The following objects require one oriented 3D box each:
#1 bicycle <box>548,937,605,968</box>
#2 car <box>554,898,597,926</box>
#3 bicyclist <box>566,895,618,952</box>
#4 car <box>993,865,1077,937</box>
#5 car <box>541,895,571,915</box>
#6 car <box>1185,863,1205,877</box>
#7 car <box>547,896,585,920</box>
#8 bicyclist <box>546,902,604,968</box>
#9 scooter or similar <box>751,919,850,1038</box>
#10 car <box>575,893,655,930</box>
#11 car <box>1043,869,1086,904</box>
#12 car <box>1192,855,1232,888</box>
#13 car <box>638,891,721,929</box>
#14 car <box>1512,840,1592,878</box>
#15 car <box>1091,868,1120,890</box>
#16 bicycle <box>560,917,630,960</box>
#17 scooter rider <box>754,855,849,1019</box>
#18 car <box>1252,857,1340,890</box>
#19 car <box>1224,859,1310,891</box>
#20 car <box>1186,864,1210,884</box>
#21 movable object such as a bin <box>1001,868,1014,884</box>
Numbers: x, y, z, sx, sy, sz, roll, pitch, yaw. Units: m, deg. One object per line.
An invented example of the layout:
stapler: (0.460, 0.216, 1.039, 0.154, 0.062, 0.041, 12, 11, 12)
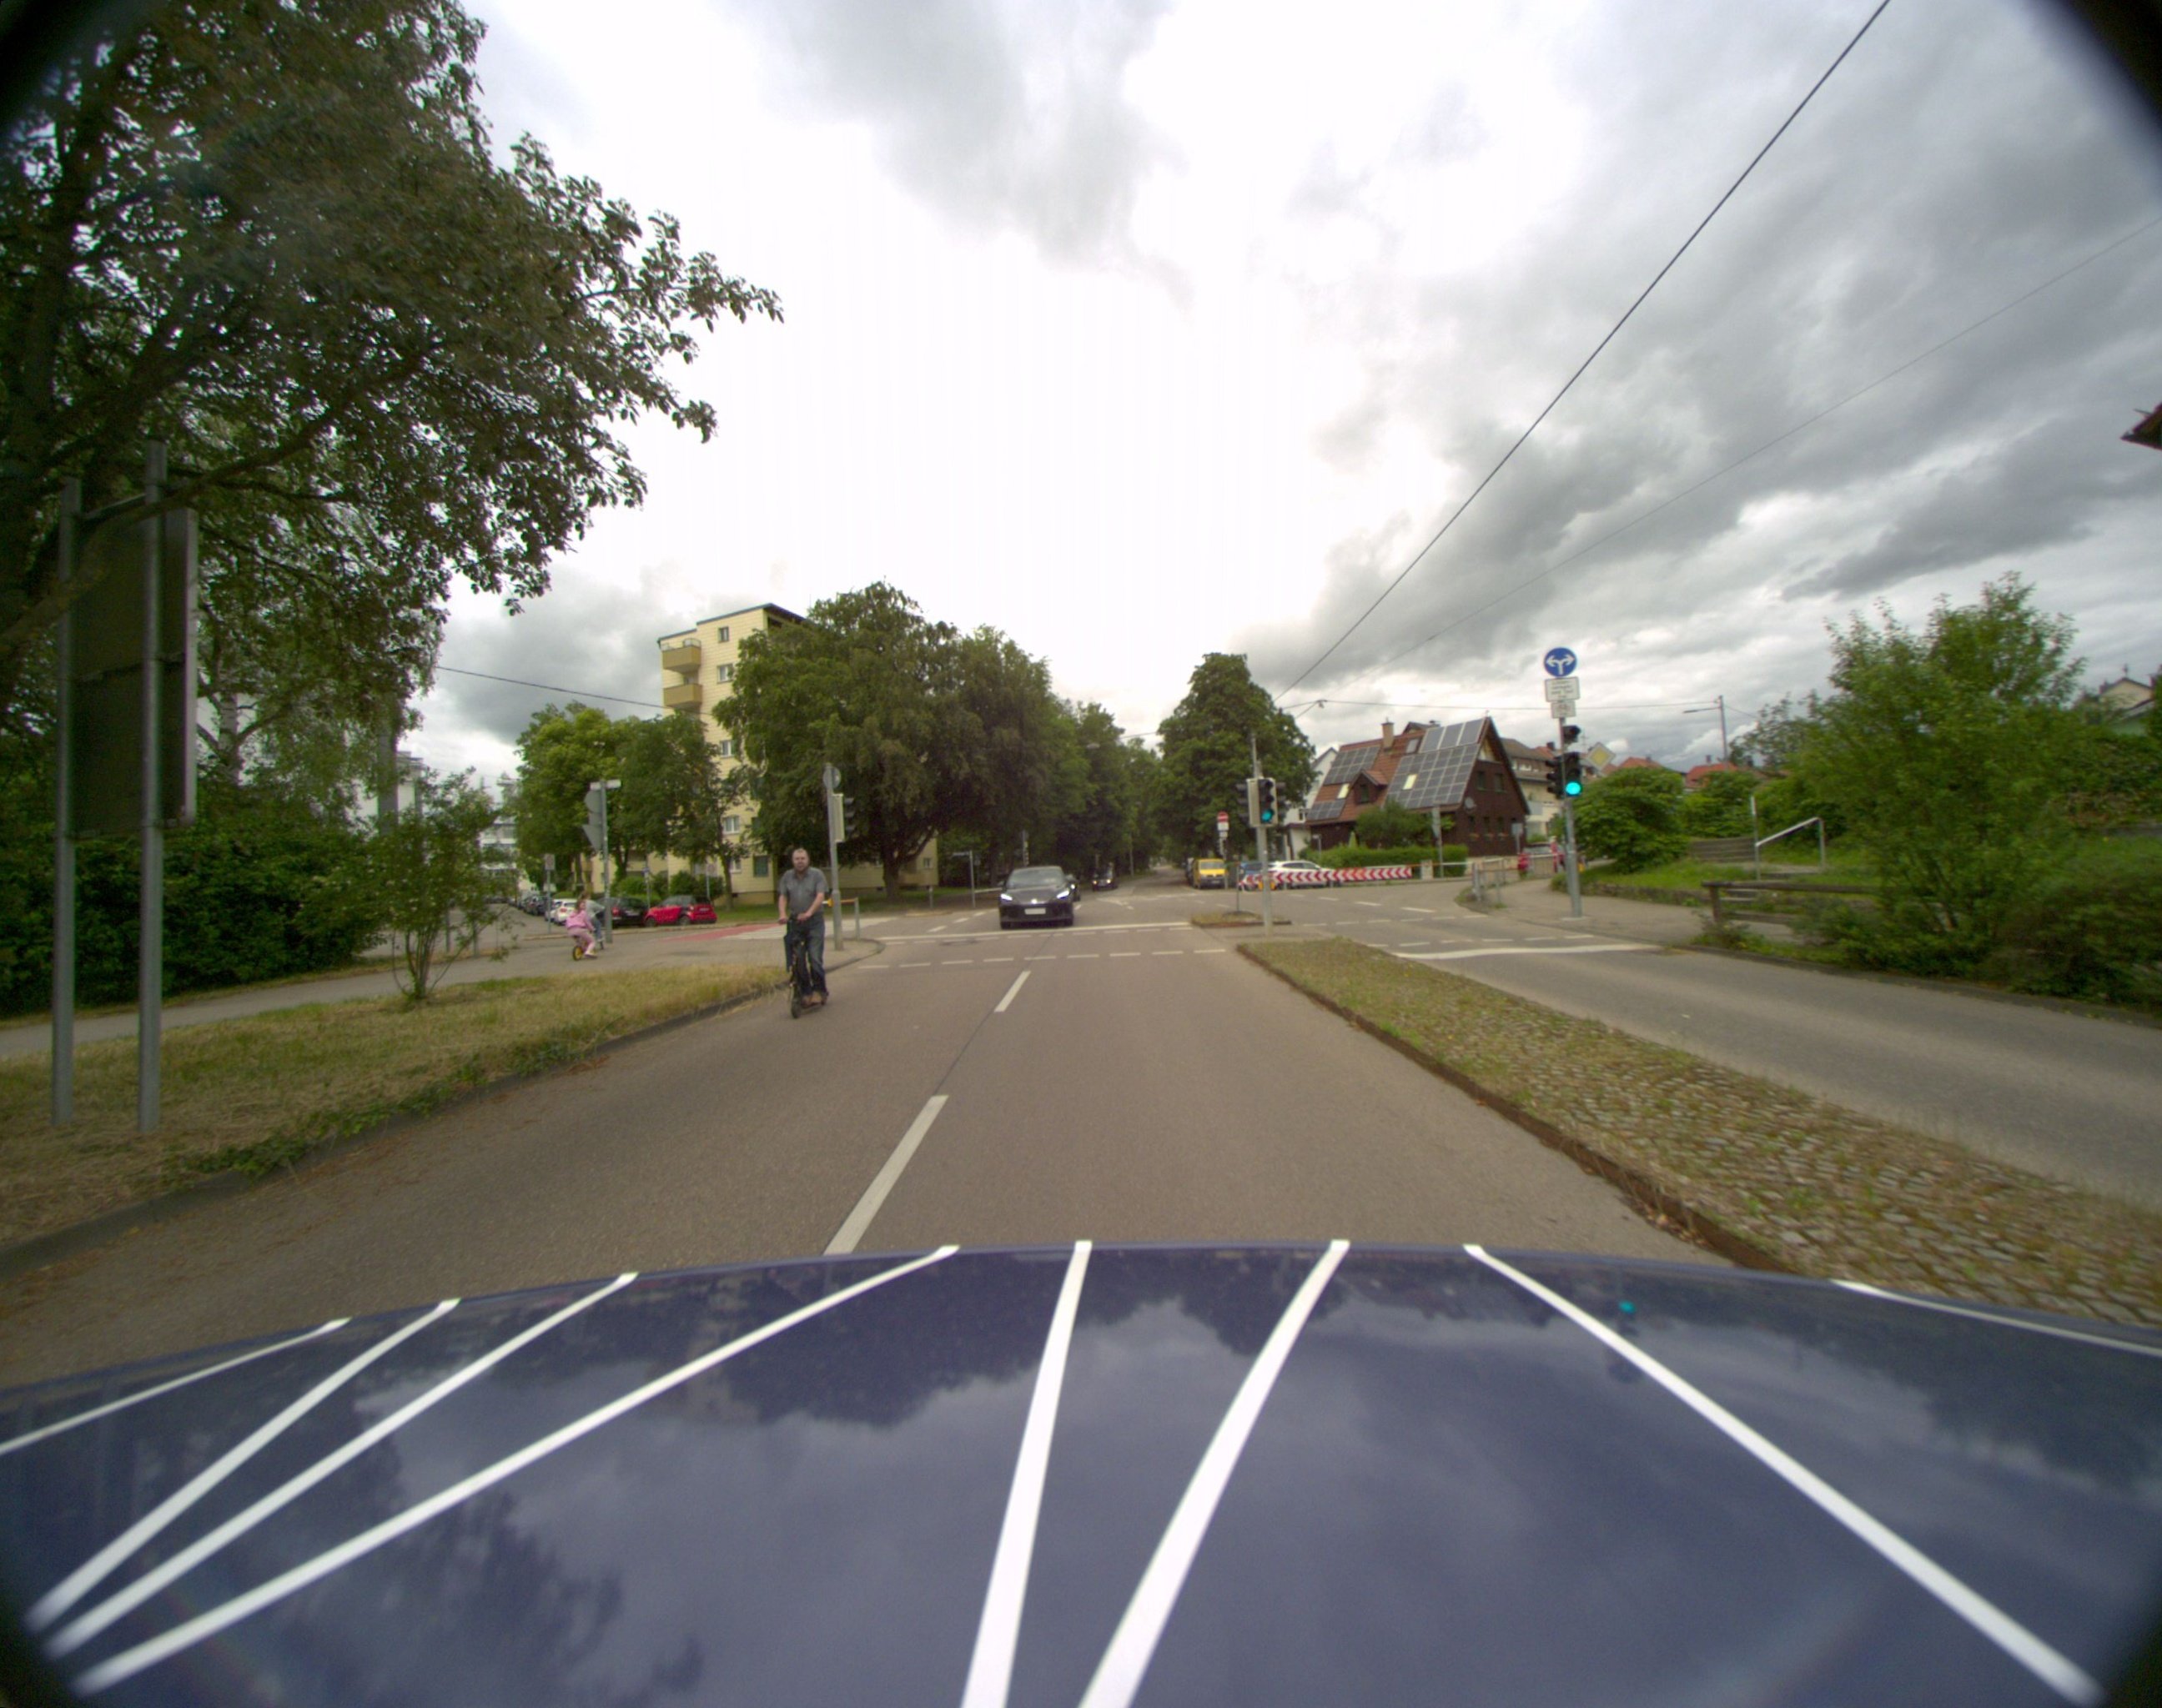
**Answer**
bicycle: (-9.811, 1.910, 14.812, 0.519, 0.494, 0.988, -2, -2, -6)
car: (-29.118, 3.291, 43.735, 1.798, 1.425, 4.062, -1, -1, -37)
bicyclist: (-10.701, 1.498, 16.654, 0.641, 1.155, 0.803, -3, 0, -9)
car: (-1.083, 1.135, 19.844, 1.804, 1.541, 4.299, -3, 0, 1)
car: (-41.909, 4.042, 60.592, 1.798, 1.403, 4.062, -1, -1, -37)
car: (12.315, 1.675, 81.882, 1.851, 1.368, 4.598, -3, -1, 10)
car: (-32.957, 3.413, 48.605, 1.798, 1.346, 4.062, -1, -1, -37)
bicyclist: (-9.841, 1.560, 14.815, 0.519, 1.179, 0.967, -3, -2, -6)
scooter or similar: (-3.175, 1.368, 8.722, 0.683, 1.132, 1.459, -3, -2, -6)
car: (-22.729, 2.815, 37.025, 3.816, 1.581, 1.822, -5, -1, 34)
car: (-0.794, 1.627, 39.060, 1.814, 1.520, 4.001, -3, 0, 3)
car: (8.524, 1.148, 49.902, 1.921, 1.977, 4.801, -3, -1, 2)
car: (-18.458, 2.576, 35.000, 2.916, 1.497, 1.698, -4, -2, 14)
car: (20.615, 0.219, 33.227, 3.691, 1.480, 1.771, -1, -2, -39)
car: (1.977, 1.948, 60.244, 1.998, 1.585, 4.002, -3, -1, 5)
bicycle: (-10.698, 1.838, 16.790, 0.641, 0.754, 1.680, -3, 0, -9)
scooter rider: (-3.187, 0.914, 8.760, 0.683, 1.719, 1.196, -3, -2, -6)
car: (11.136, 1.014, 39.493, 3.905, 1.463, 1.844, -2, -2, -10)
car: (10.186, 1.154, 41.830, 4.176, 1.537, 1.846, -3, -2, -2)
car: (9.413, 1.596, 61.209, 1.748, 1.442, 4.597, -3, 0, 9)
movable object such as a bin: (-8.125, 2.411, 83.863, 1.277, 1.632, 1.021, -1, 1, 5)
